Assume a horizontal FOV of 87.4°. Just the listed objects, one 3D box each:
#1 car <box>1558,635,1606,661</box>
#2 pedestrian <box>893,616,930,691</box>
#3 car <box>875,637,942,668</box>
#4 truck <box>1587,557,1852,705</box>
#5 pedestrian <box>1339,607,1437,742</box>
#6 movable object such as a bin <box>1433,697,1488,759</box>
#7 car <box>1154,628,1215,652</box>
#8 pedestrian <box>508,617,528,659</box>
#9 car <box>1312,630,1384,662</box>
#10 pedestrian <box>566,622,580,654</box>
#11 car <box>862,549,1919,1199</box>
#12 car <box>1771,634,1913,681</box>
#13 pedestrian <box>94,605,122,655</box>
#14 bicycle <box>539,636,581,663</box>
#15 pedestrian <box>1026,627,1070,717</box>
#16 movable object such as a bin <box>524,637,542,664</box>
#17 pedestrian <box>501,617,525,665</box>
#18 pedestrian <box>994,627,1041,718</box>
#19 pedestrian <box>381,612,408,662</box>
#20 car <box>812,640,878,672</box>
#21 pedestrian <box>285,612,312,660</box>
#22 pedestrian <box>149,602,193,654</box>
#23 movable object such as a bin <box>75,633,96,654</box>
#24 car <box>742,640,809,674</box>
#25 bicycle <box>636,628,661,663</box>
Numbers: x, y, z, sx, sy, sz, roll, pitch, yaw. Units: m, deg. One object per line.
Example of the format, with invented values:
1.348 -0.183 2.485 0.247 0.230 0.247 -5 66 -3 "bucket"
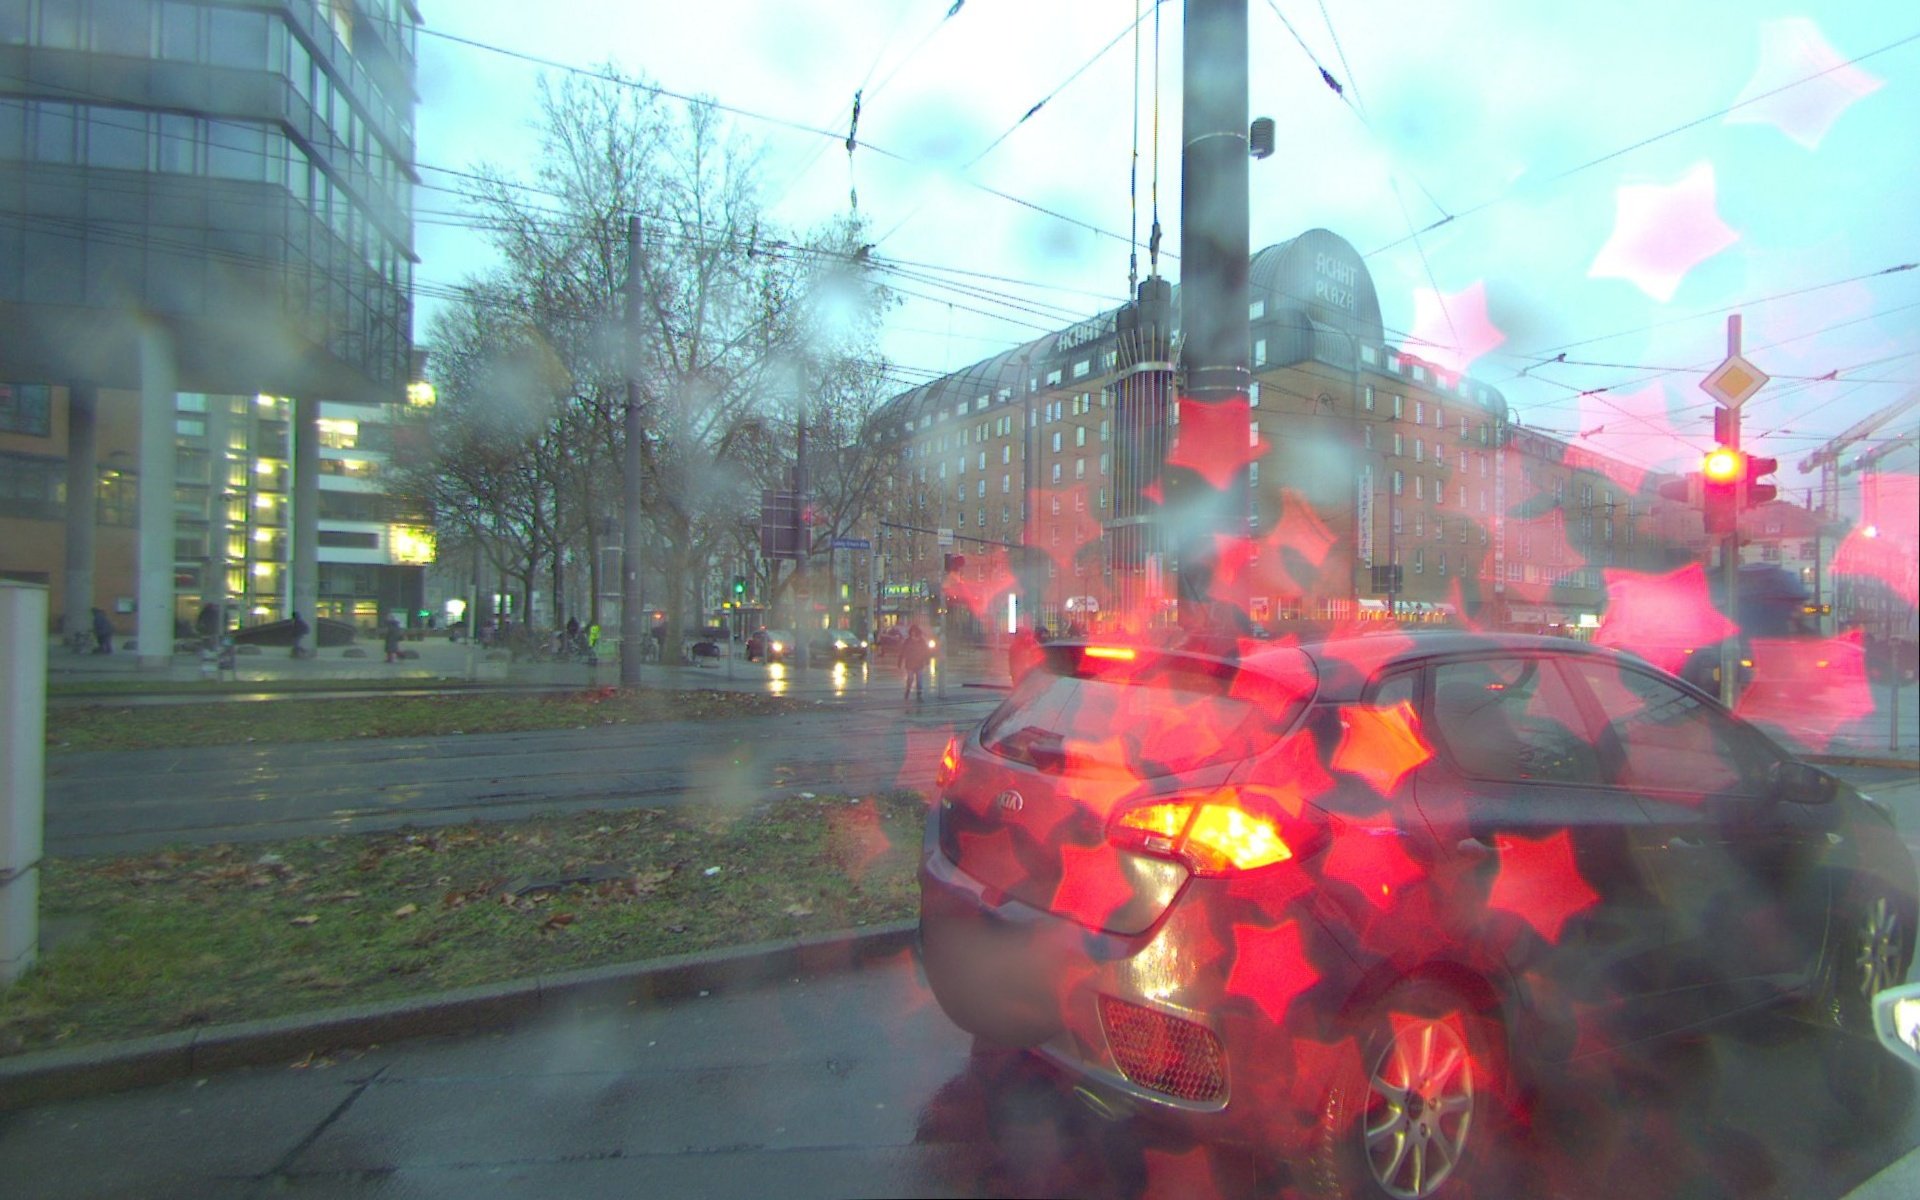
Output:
42.880 3.306 69.215 3.973 1.692 1.974 2 -2 -44 "car"
-0.999 1.086 20.564 0.724 1.519 0.676 1 -1 -4 "pedestrian"
-2.722 2.704 52.570 1.975 1.483 3.970 1 -2 -28 "car"
21.290 0.853 28.847 2.790 3.681 7.532 0 -1 9 "truck"
5.338 0.920 12.585 1.016 1.621 0.716 -1 -3 16 "pedestrian"
6.055 1.539 12.158 0.527 0.708 0.413 0 -3 17 "movable object such as a bin"
13.848 2.456 62.133 1.682 1.478 3.731 1 -2 -28 "car"
-19.710 1.680 44.763 0.719 1.840 0.773 1 -1 -30 "pedestrian"
18.826 2.206 48.865 1.678 1.467 3.997 1 -1 -5 "car"
-19.497 1.908 50.600 0.637 1.577 0.765 1 -1 -22 "pedestrian"
1.747 0.716 3.656 3.894 1.543 1.623 1 -2 -29 "car"
33.450 2.138 38.144 3.945 1.460 1.704 3 1 44 "car"
-28.180 0.979 33.226 0.670 1.629 0.449 1 -2 -38 "pedestrian"
-16.372 2.019 41.161 1.564 1.088 0.451 1 -2 -20 "bicycle"
1.546 1.250 17.621 0.604 1.532 0.519 1 -1 -18 "pedestrian"
-16.462 1.944 38.725 0.637 1.048 0.572 1 -1 -23 "movable object such as a bin"
-17.112 1.564 38.452 0.778 1.828 0.868 1 -1 -22 "pedestrian"
0.982 1.228 17.212 0.635 1.532 0.560 1 -1 -18 "pedestrian"
-20.332 1.332 36.105 0.811 1.797 0.568 1 -2 -29 "pedestrian"
-5.827 2.805 50.623 1.975 1.483 3.970 1 -2 -28 "car"
-24.146 1.318 36.658 0.776 1.734 0.650 1 -2 -32 "pedestrian"
-26.738 0.939 34.061 0.772 1.734 1.008 1 -2 -15 "pedestrian"
-28.626 1.427 32.888 0.481 0.698 0.353 2 -2 -38 "movable object such as a bin"
-8.763 2.651 47.540 1.975 1.483 3.970 1 -2 -28 "car"
-12.277 1.782 39.533 0.624 1.336 2.296 1 -2 -26 "bicycle"
